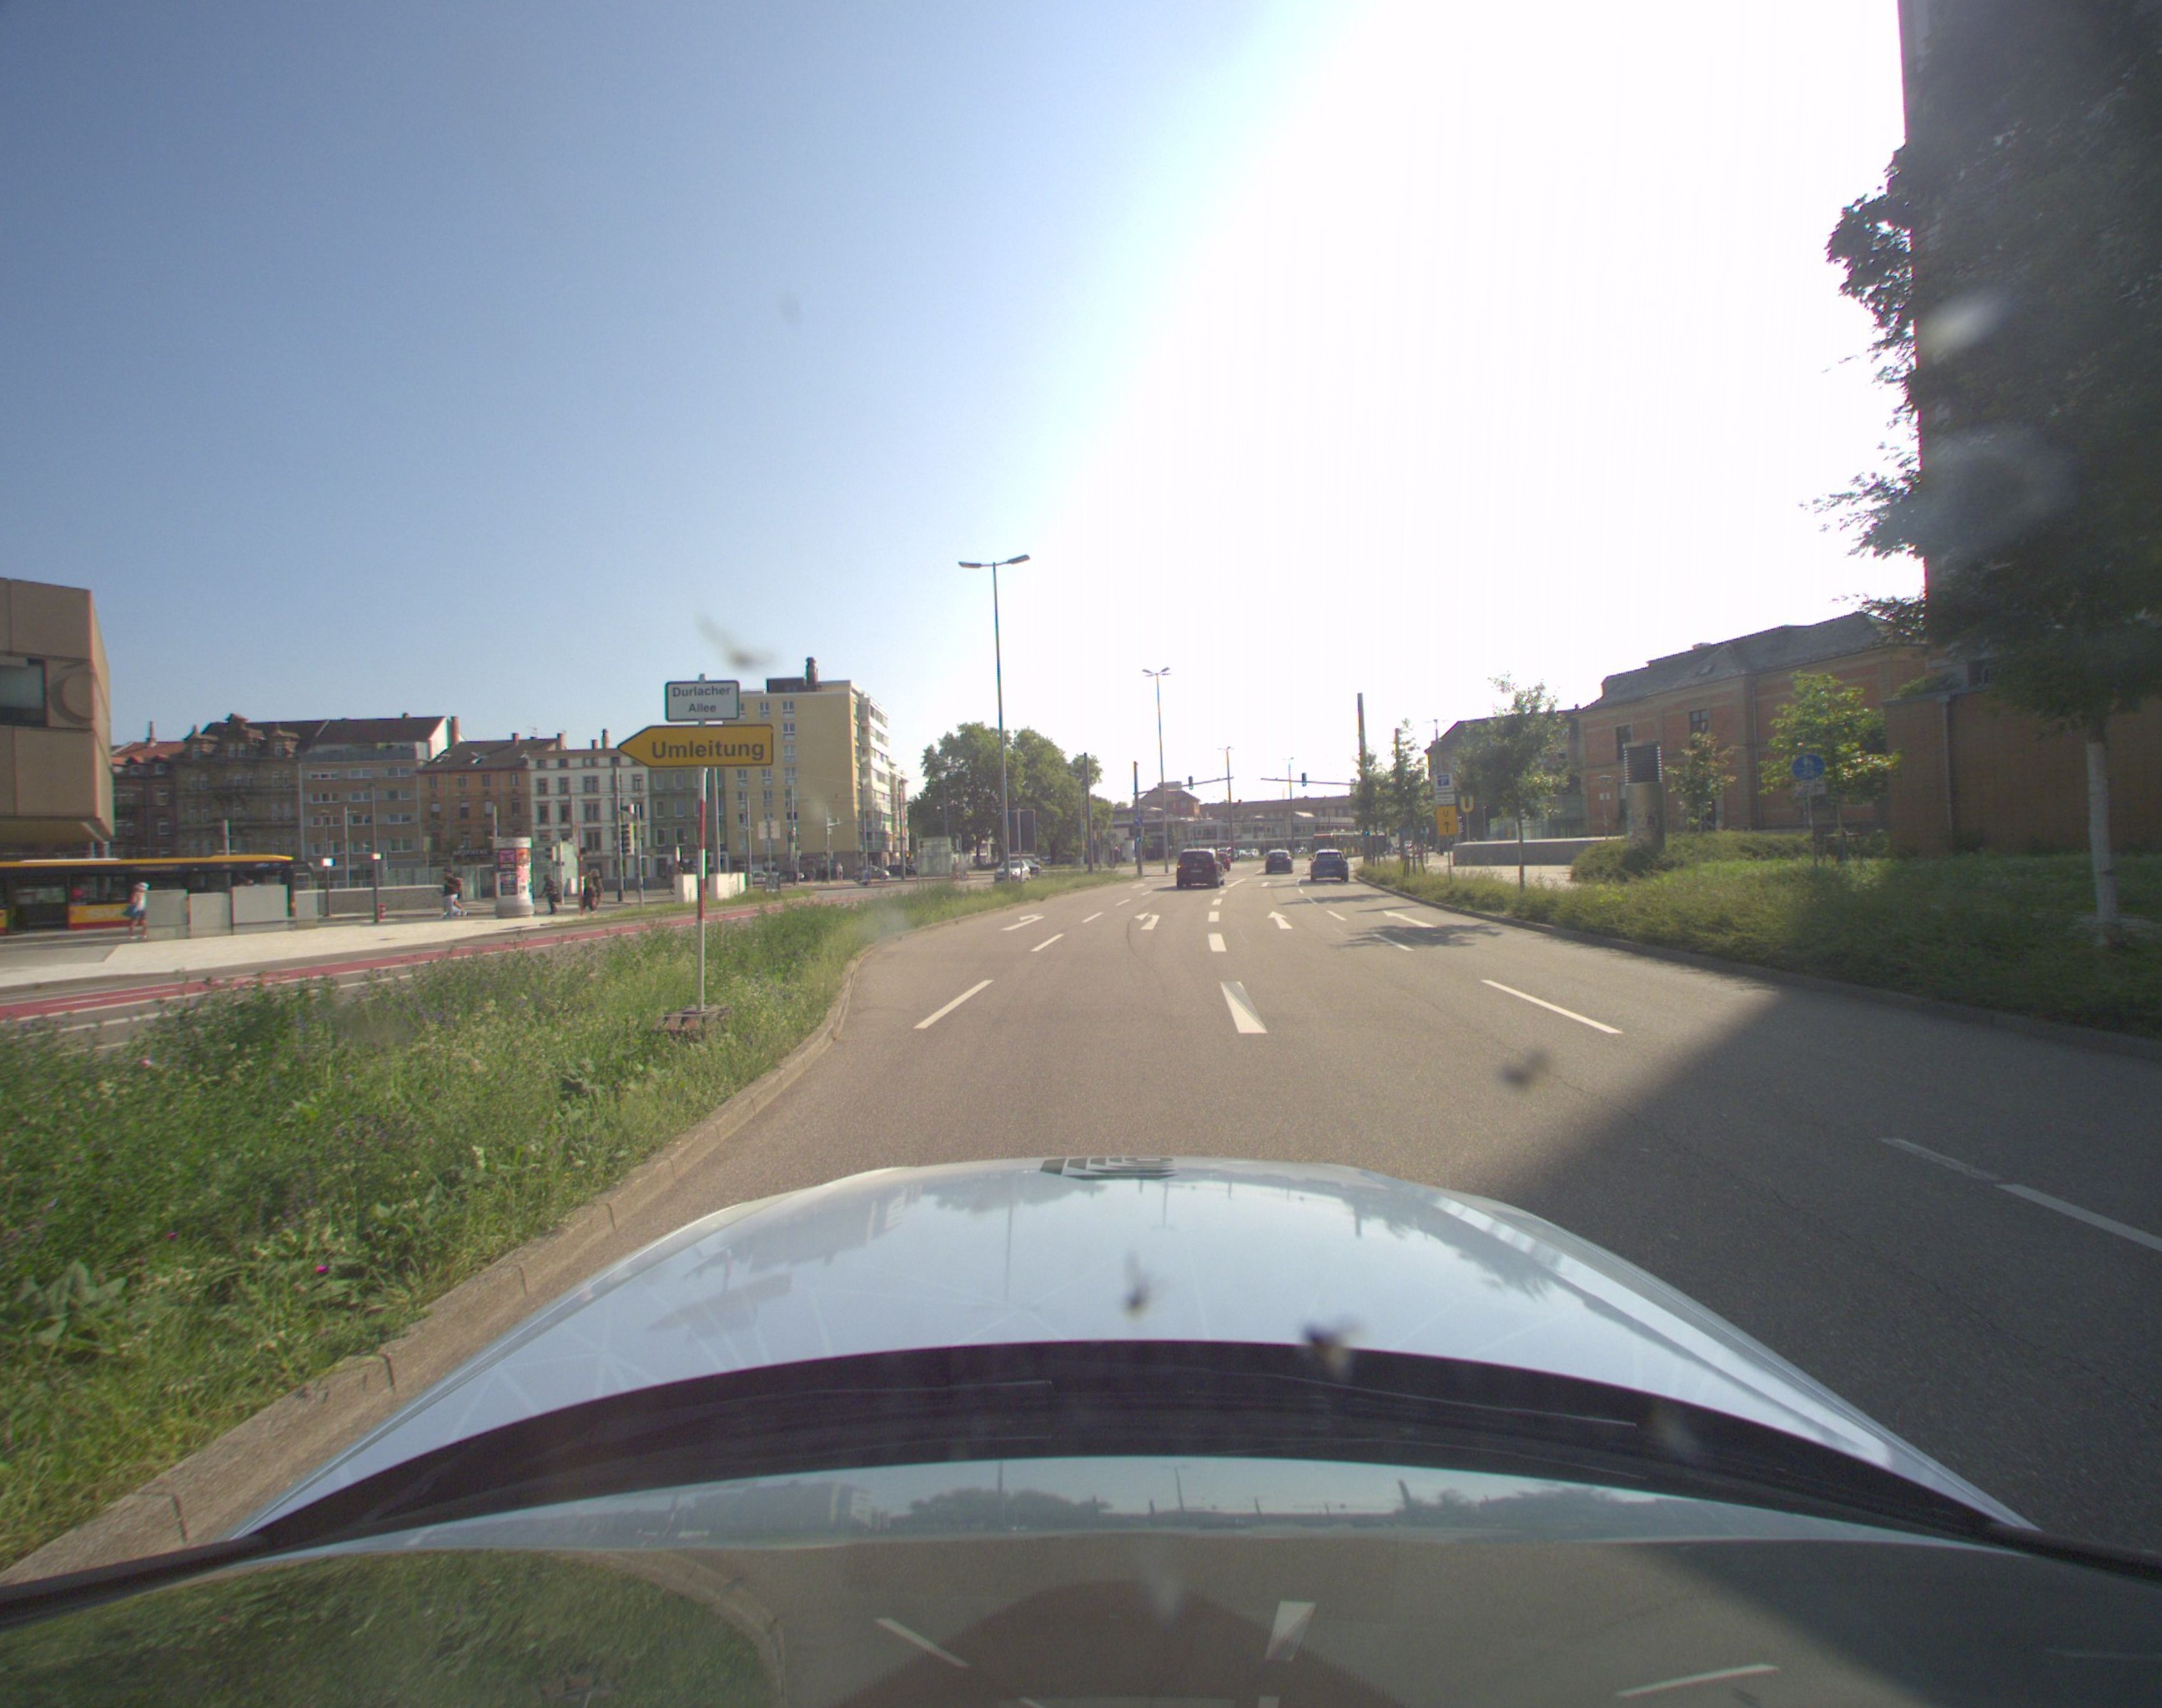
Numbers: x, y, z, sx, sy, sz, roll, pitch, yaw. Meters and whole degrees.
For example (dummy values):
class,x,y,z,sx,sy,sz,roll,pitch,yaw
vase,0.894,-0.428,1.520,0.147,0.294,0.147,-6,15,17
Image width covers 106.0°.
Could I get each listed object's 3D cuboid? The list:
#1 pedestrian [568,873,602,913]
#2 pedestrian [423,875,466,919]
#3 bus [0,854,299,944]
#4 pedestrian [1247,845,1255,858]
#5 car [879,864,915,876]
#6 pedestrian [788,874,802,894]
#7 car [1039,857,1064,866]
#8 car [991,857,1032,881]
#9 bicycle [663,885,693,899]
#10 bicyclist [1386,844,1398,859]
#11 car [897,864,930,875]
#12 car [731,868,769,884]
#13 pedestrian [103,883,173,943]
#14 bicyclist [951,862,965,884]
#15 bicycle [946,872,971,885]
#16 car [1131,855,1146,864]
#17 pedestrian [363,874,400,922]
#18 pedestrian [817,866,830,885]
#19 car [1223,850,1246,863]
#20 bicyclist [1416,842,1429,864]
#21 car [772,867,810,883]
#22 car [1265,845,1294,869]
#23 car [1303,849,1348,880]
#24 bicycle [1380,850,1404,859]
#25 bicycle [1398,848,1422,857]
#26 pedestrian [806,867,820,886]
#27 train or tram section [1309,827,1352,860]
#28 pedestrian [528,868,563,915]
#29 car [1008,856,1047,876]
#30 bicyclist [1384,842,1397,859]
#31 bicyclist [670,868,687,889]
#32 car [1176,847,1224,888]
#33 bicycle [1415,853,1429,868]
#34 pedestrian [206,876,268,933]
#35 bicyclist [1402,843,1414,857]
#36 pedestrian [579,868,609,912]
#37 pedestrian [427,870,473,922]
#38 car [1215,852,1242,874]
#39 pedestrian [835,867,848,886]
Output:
class,x,y,z,sx,sy,sz,roll,pitch,yaw
pedestrian,-19.965,1.557,32.777,0.995,1.559,0.855,-2,-1,-42
pedestrian,-23.577,1.604,30.166,0.977,1.563,0.871,-3,-1,27
bus,-39.488,1.768,32.074,2.682,3.108,12.291,-3,-1,42
pedestrian,20.938,-0.292,100.409,0.770,1.503,0.714,-3,0,28
car,-23.404,2.052,103.721,4.149,1.354,1.479,-2,0,-5
pedestrian,-25.886,2.698,73.680,0.920,1.690,0.921,-2,-1,-3
car,-5.419,1.429,150.464,4.541,1.522,1.684,-2,0,-45
car,-4.655,0.984,55.227,1.803,1.433,4.234,-3,0,8
bicycle,-29.756,2.777,60.119,1.805,0.932,0.727,-2,0,2
bicyclist,38.775,-0.334,101.636,0.934,1.800,1.089,-2,0,-10
car,-22.604,2.065,110.066,4.149,1.354,1.575,-2,0,-5
car,-36.714,2.479,90.315,4.491,1.678,2.013,-2,0,39
pedestrian,-27.524,1.703,23.776,0.983,1.672,0.866,-3,-1,1
bicyclist,-9.660,1.516,64.130,0.877,1.652,0.727,-2,0,3
bicycle,-9.643,1.906,64.120,1.805,0.932,0.727,-2,0,2
car,10.292,0.944,145.567,1.686,1.522,4.119,-2,0,18
pedestrian,-27.327,1.706,31.814,0.773,1.800,0.702,-3,-1,6
pedestrian,-23.523,1.925,74.472,0.920,1.690,0.921,-2,-1,-3
car,19.809,0.328,105.200,1.599,1.476,4.025,-5,-2,29
bicyclist,24.396,-0.071,58.221,0.712,1.513,1.010,-3,-1,27
car,-32.050,2.321,89.921,4.492,1.678,2.012,-2,0,43
car,13.746,0.167,56.308,1.812,1.535,4.429,-3,0,14
car,12.381,0.490,41.487,1.813,1.428,4.427,-3,0,12
bicycle,38.807,0.087,101.639,2.618,0.964,1.089,-2,0,-10
bicycle,41.417,-0.164,102.619,2.618,0.964,1.089,-2,0,-10
pedestrian,-24.602,2.040,74.695,0.920,1.690,0.921,-2,-1,-3
train or tram section,29.884,-1.294,97.374,2.629,3.699,10.655,-3,0,29
pedestrian,-21.414,1.482,32.583,0.790,1.800,0.784,-3,-1,18
car,-4.805,1.105,72.458,1.704,1.617,4.420,-2,-1,-28
bicyclist,37.804,-0.427,99.508,0.938,2.024,1.084,-2,0,-23
bicyclist,-29.734,1.792,60.124,0.791,1.527,0.727,-2,0,3
car,5.425,0.573,36.747,1.813,1.714,4.427,-1,0,12
bicycle,24.425,0.467,58.256,0.712,0.960,1.933,-3,-1,28
pedestrian,-26.786,1.586,25.861,0.983,1.705,0.866,-3,-1,1
bicyclist,41.213,-0.524,102.580,0.934,1.680,1.089,-2,0,-10
pedestrian,-20.665,1.508,34.585,0.773,1.800,0.702,-3,-1,6
pedestrian,-22.406,1.495,28.905,0.978,1.770,0.871,-3,-1,23
car,11.492,0.685,63.326,1.813,1.535,4.427,-3,0,12
pedestrian,-21.933,2.026,74.587,0.920,1.690,0.921,-2,-1,-3
